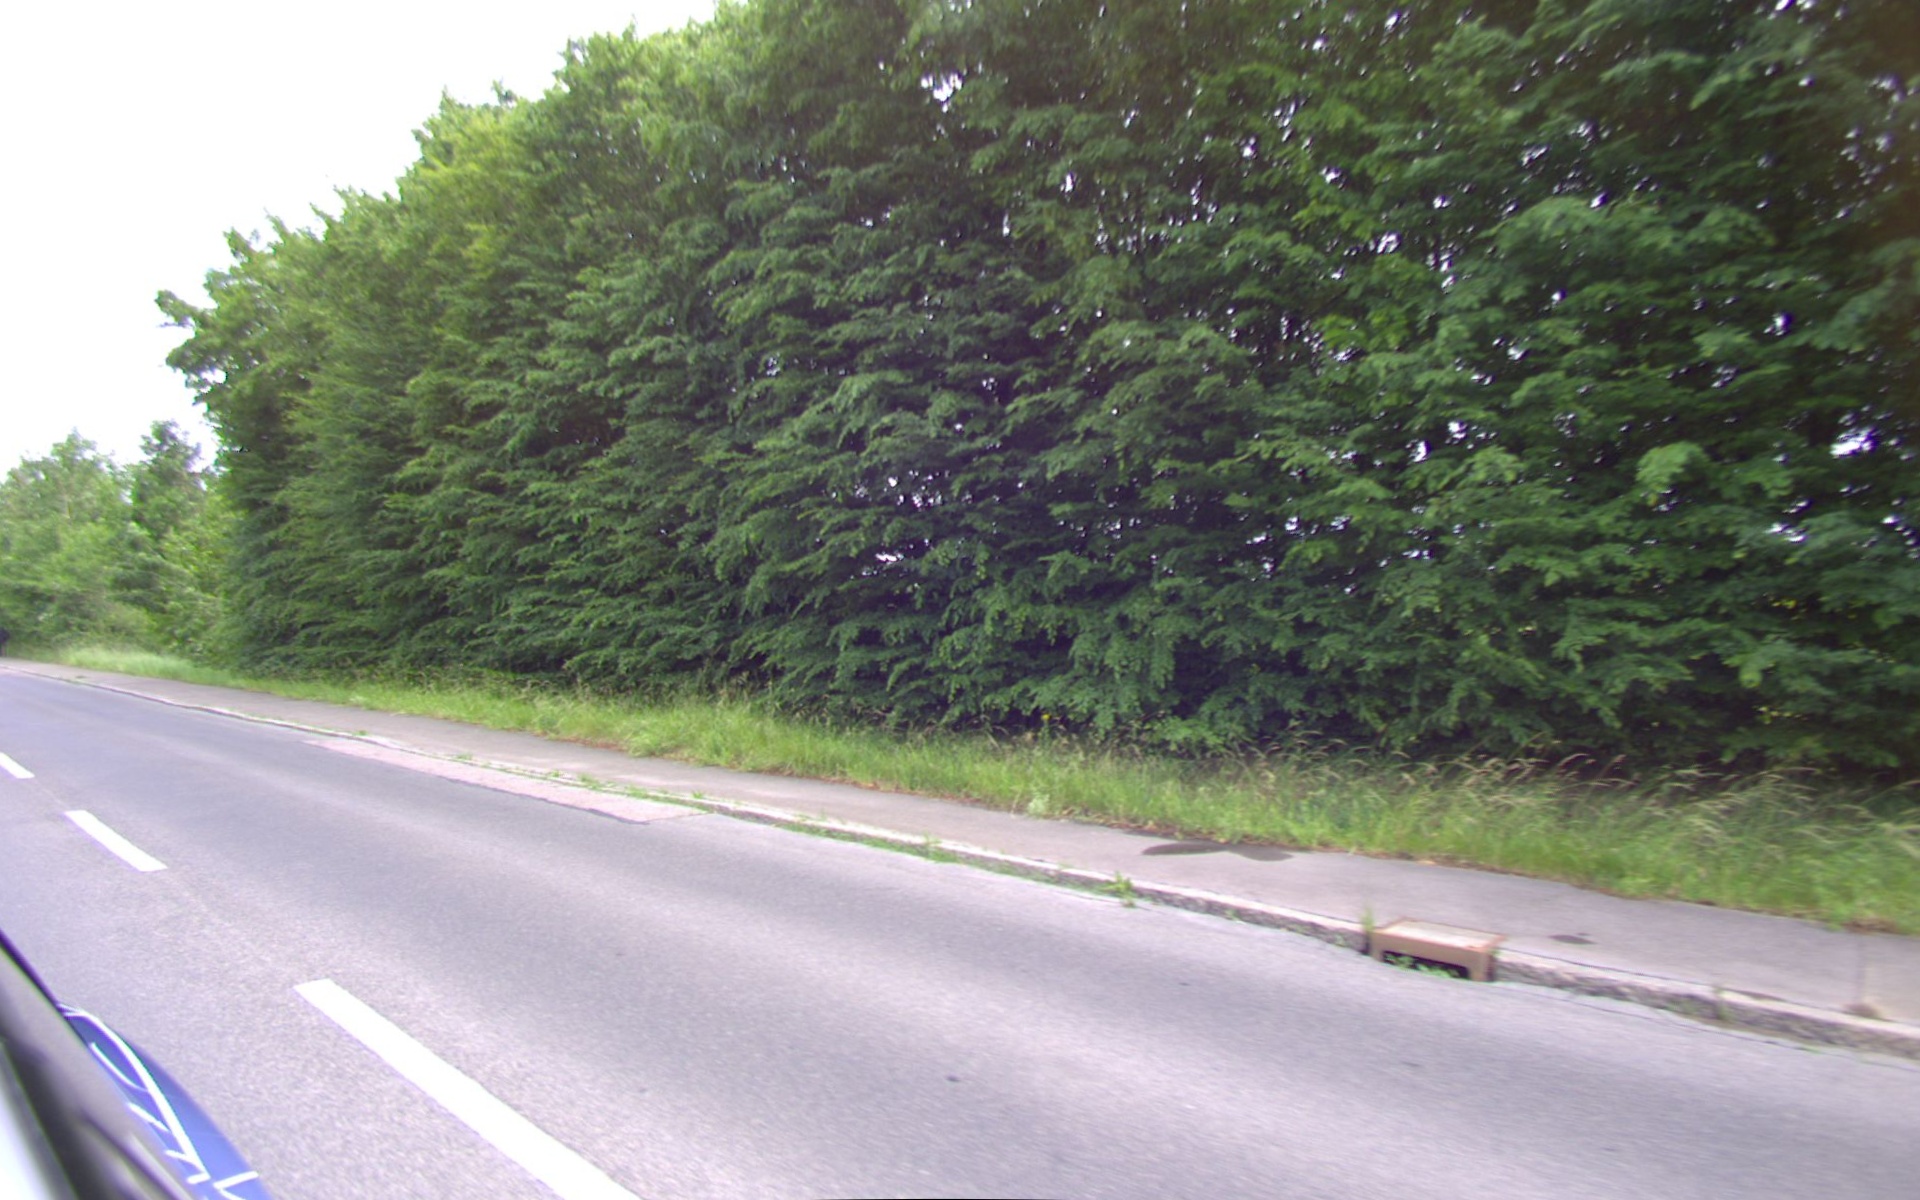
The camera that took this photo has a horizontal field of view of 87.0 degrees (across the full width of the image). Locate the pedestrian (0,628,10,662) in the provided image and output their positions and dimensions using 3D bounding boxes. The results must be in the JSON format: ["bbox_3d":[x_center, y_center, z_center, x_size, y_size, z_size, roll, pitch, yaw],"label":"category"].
[{"bbox_3d":[-52.027,2.425,54.628,0.788,1.783,0.860,-2,-5,36],"label":"pedestrian"}]
